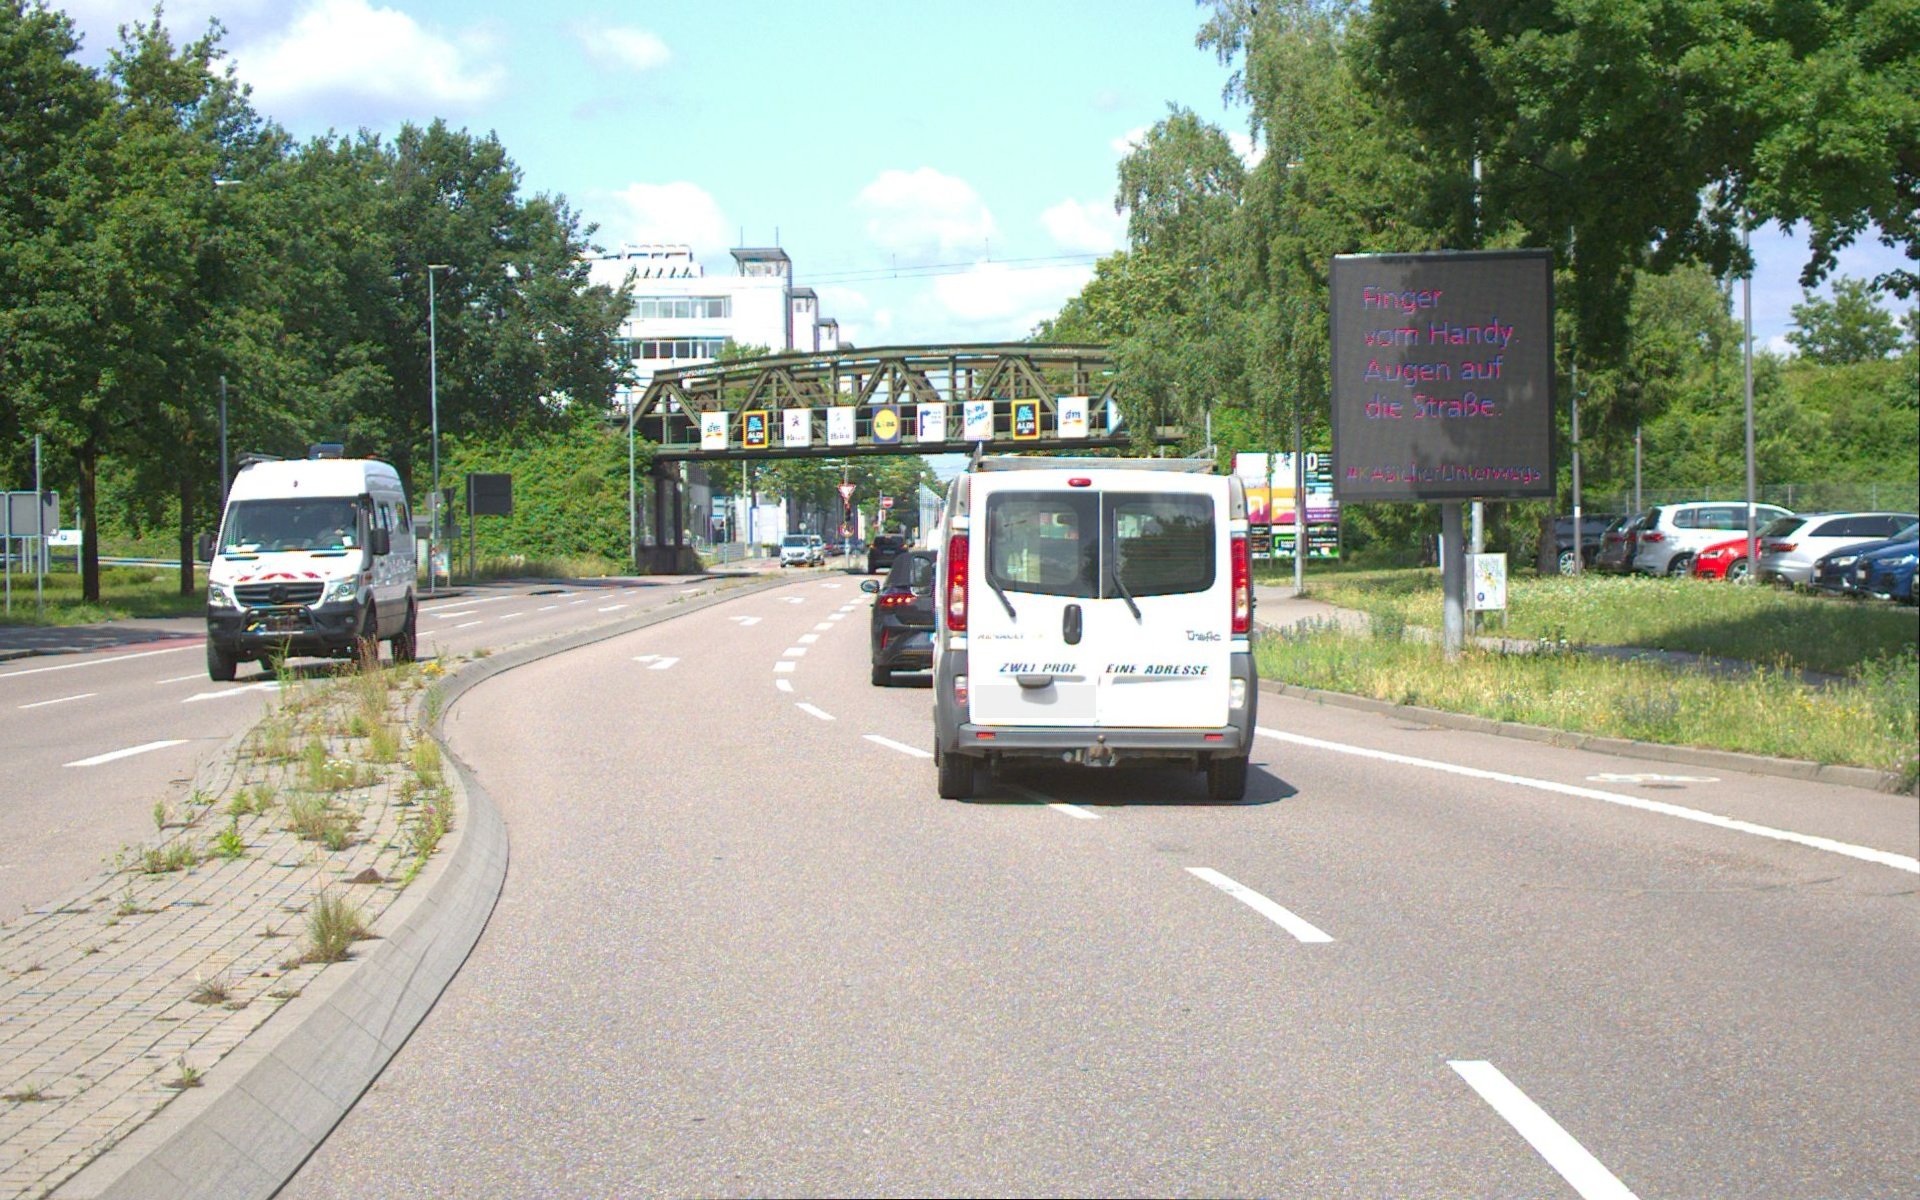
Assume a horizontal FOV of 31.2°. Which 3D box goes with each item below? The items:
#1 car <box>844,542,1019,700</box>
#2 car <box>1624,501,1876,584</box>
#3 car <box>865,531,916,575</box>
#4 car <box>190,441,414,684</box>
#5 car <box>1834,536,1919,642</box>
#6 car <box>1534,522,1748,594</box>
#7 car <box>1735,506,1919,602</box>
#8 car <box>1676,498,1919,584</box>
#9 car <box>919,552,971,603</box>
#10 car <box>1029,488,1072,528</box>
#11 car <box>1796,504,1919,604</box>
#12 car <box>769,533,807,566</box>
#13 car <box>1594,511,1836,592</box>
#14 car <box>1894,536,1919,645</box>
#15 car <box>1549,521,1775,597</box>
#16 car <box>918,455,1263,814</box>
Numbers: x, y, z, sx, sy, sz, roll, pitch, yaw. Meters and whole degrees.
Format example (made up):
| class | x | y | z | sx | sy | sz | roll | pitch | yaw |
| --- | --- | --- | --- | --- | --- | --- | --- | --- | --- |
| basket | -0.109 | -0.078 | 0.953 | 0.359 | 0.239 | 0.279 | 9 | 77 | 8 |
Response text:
| class | x | y | z | sx | sy | sz | roll | pitch | yaw |
| --- | --- | --- | --- | --- | --- | --- | --- | --- | --- |
| car | -0.372 | 0.195 | 39.242 | 1.773 | 1.623 | 4.001 | 0 | 2 | -4 |
| car | 15.132 | -1.115 | 65.975 | 4.354 | 1.507 | 1.936 | 0 | 3 | -1 |
| car | -2.988 | -2.051 | 148.989 | 1.993 | 1.765 | 4.000 | 1 | 3 | 2 |
| car | -8.369 | -0.495 | 44.288 | 2.023 | 2.883 | 6.383 | -1 | 1 | -4 |
| car | 15.639 | -0.166 | 51.925 | 4.354 | 1.507 | 1.936 | 0 | 3 | -1 |
| car | 15.158 | -0.942 | 76.641 | 4.354 | 1.507 | 1.936 | 0 | 3 | -1 |
| car | 15.402 | -0.776 | 57.576 | 4.354 | 1.507 | 1.936 | 0 | 3 | -1 |
| car | 15.636 | -1.099 | 63.514 | 4.354 | 1.507 | 1.936 | 0 | 3 | -1 |
| car | -0.596 | -0.922 | 137.768 | 1.993 | 2.007 | 4.000 | -1 | 1 | 1 |
| car | 5.803 | -5.886 | 220.667 | 2.379 | 2.467 | 4.760 | 0 | 1 | 6 |
| car | 15.793 | -0.738 | 54.968 | 4.354 | 1.507 | 1.936 | 0 | 3 | -1 |
| car | -10.559 | -3.088 | 211.294 | 1.994 | 2.007 | 4.000 | -1 | 1 | 3 |
| car | 15.028 | -0.975 | 68.562 | 4.354 | 1.507 | 1.936 | 0 | 3 | -1 |
| car | 15.827 | -0.118 | 49.182 | 4.354 | 1.507 | 1.936 | 0 | 3 | -1 |
| car | 14.836 | -0.874 | 72.819 | 4.354 | 1.507 | 1.936 | 0 | 3 | -1 |
| car | 0.729 | 0.114 | 21.941 | 1.973 | 2.052 | 4.565 | 0 | 2 | 0 |
